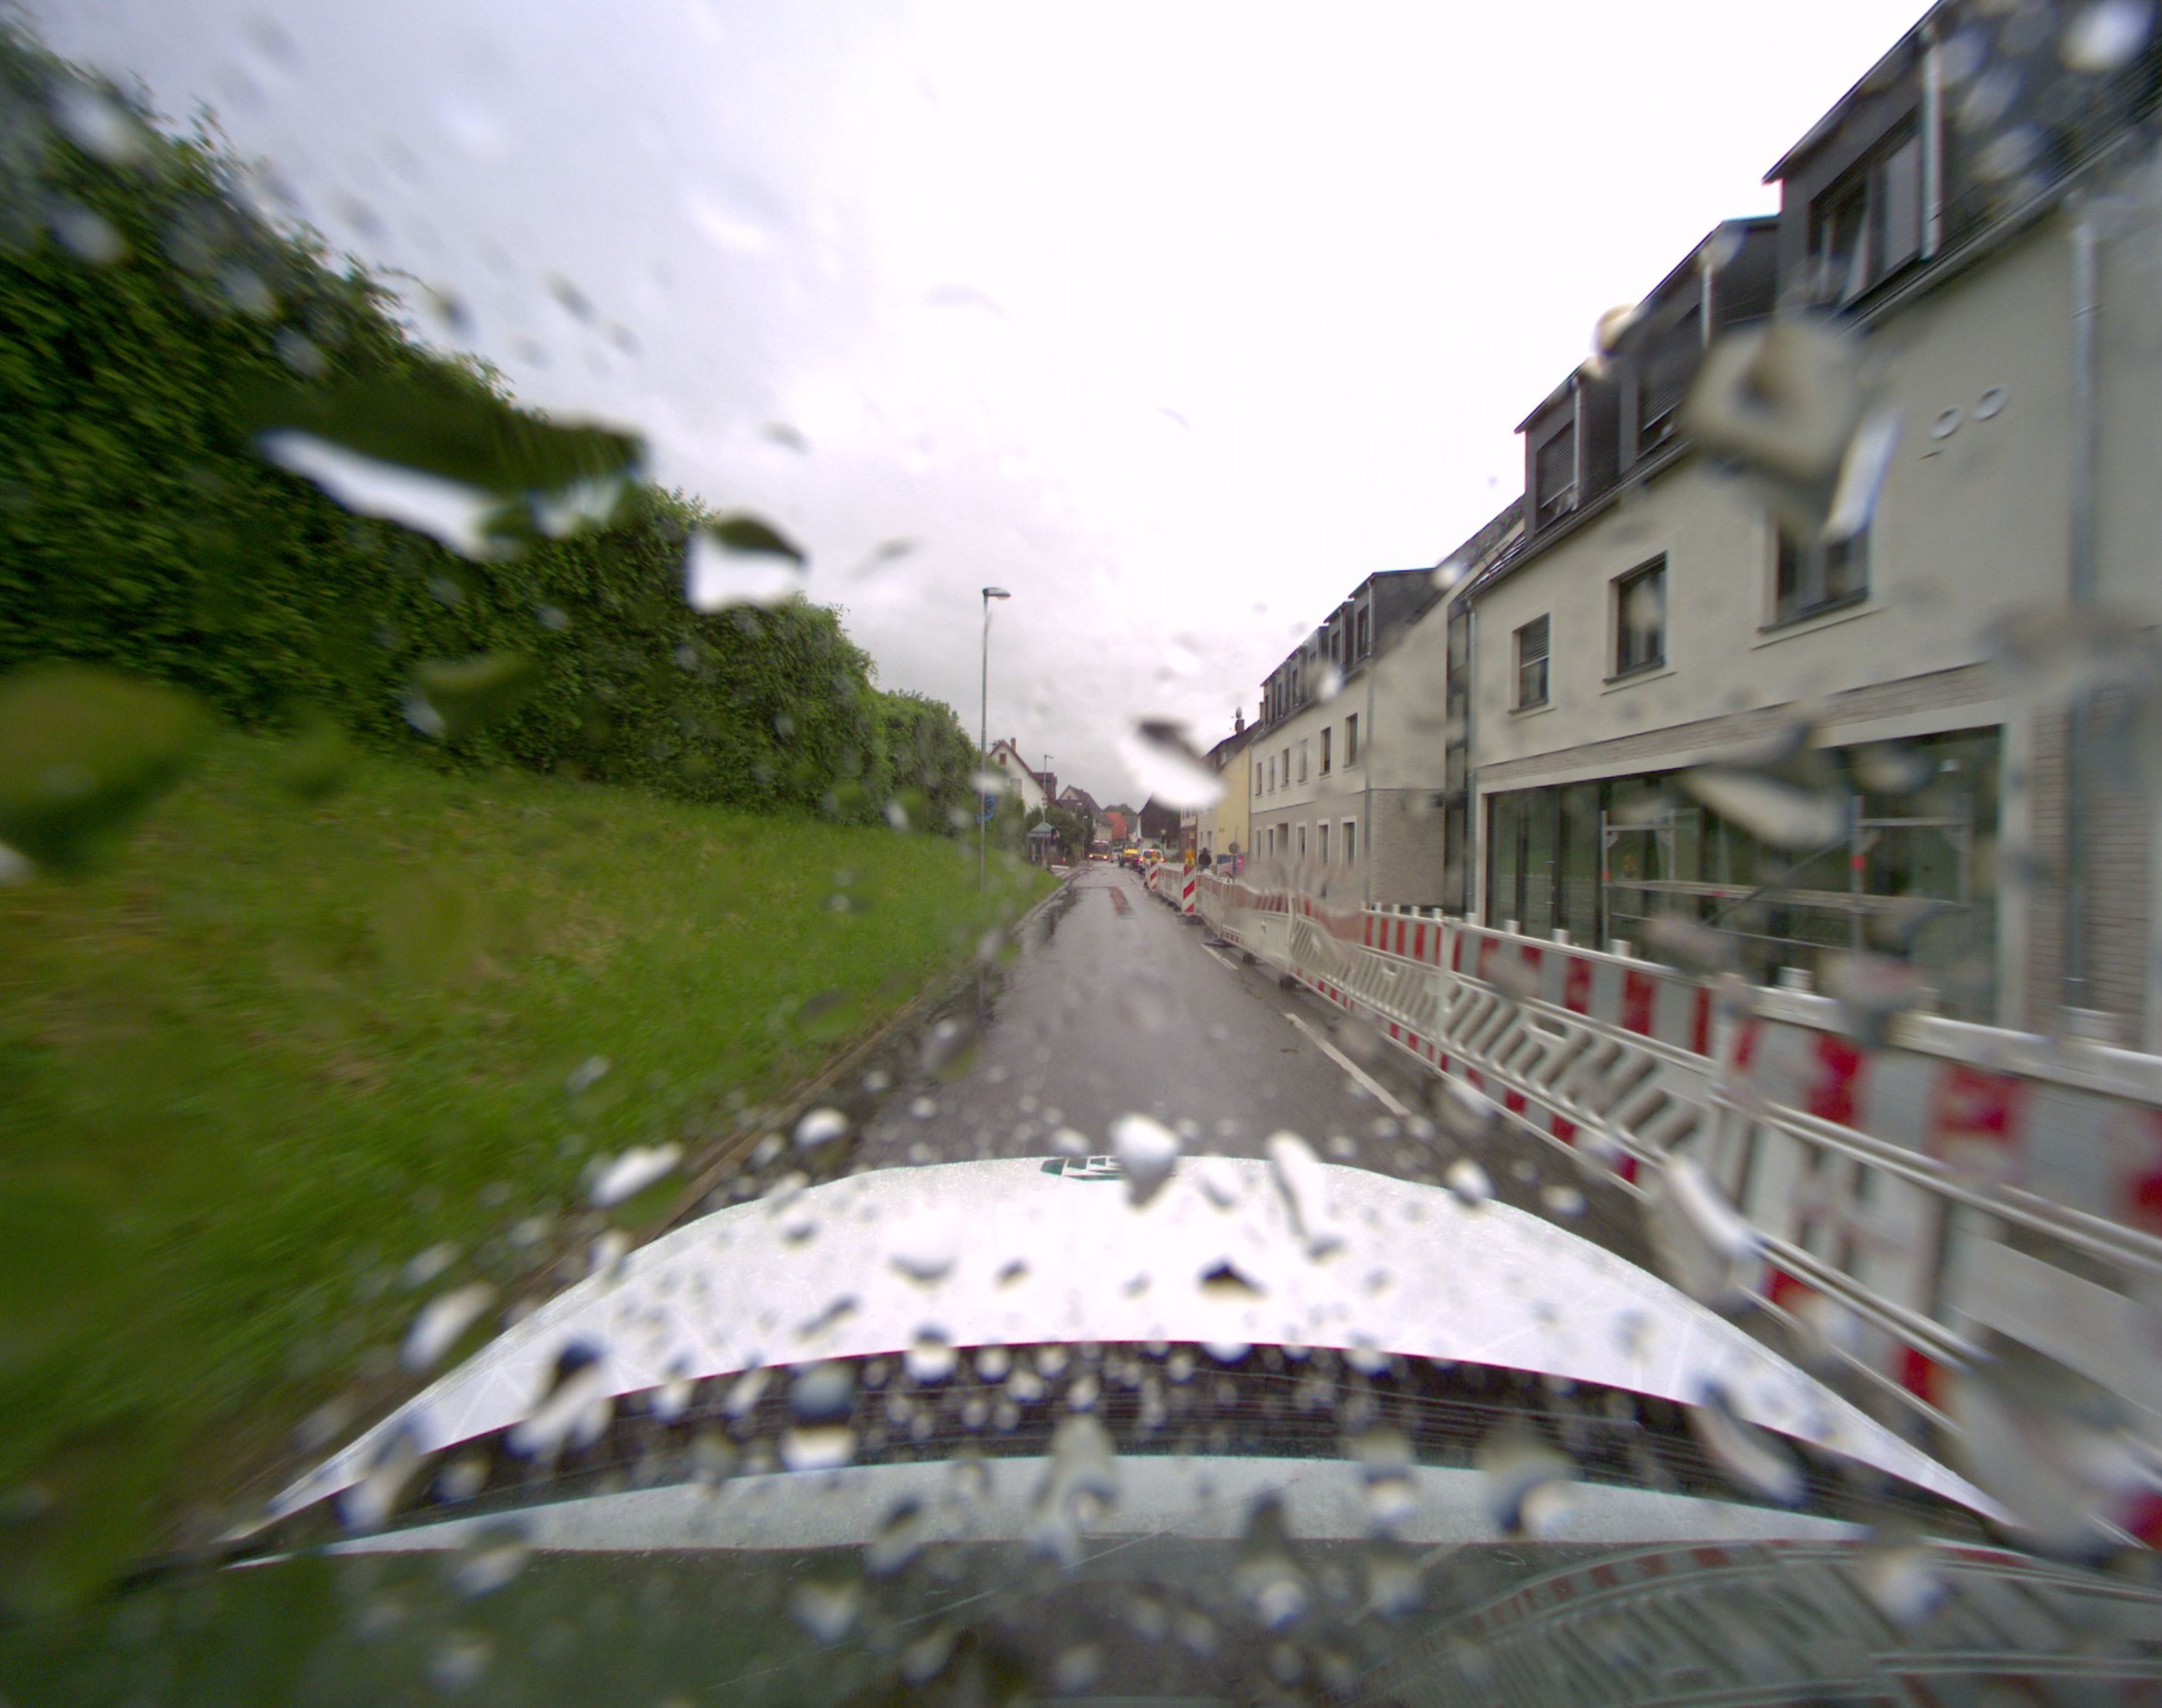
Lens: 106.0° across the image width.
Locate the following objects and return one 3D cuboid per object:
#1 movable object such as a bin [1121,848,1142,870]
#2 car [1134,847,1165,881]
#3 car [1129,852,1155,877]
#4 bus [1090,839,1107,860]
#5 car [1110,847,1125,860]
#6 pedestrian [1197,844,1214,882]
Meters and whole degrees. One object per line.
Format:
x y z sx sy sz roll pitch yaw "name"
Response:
5.202 0.508 83.709 1.986 2.173 4.002 2 0 2 "movable object such as a bin"
5.050 0.736 60.382 1.986 2.375 4.097 2 0 1 "car"
5.204 0.857 70.012 1.986 2.013 4.002 2 0 2 "car"
2.712 -0.694 124.679 2.232 3.103 7.036 2 0 3 "bus"
4.667 -0.066 105.227 1.811 1.642 4.097 2 0 2 "car"
5.837 0.422 38.173 0.663 1.755 0.812 2 -1 2 "pedestrian"
